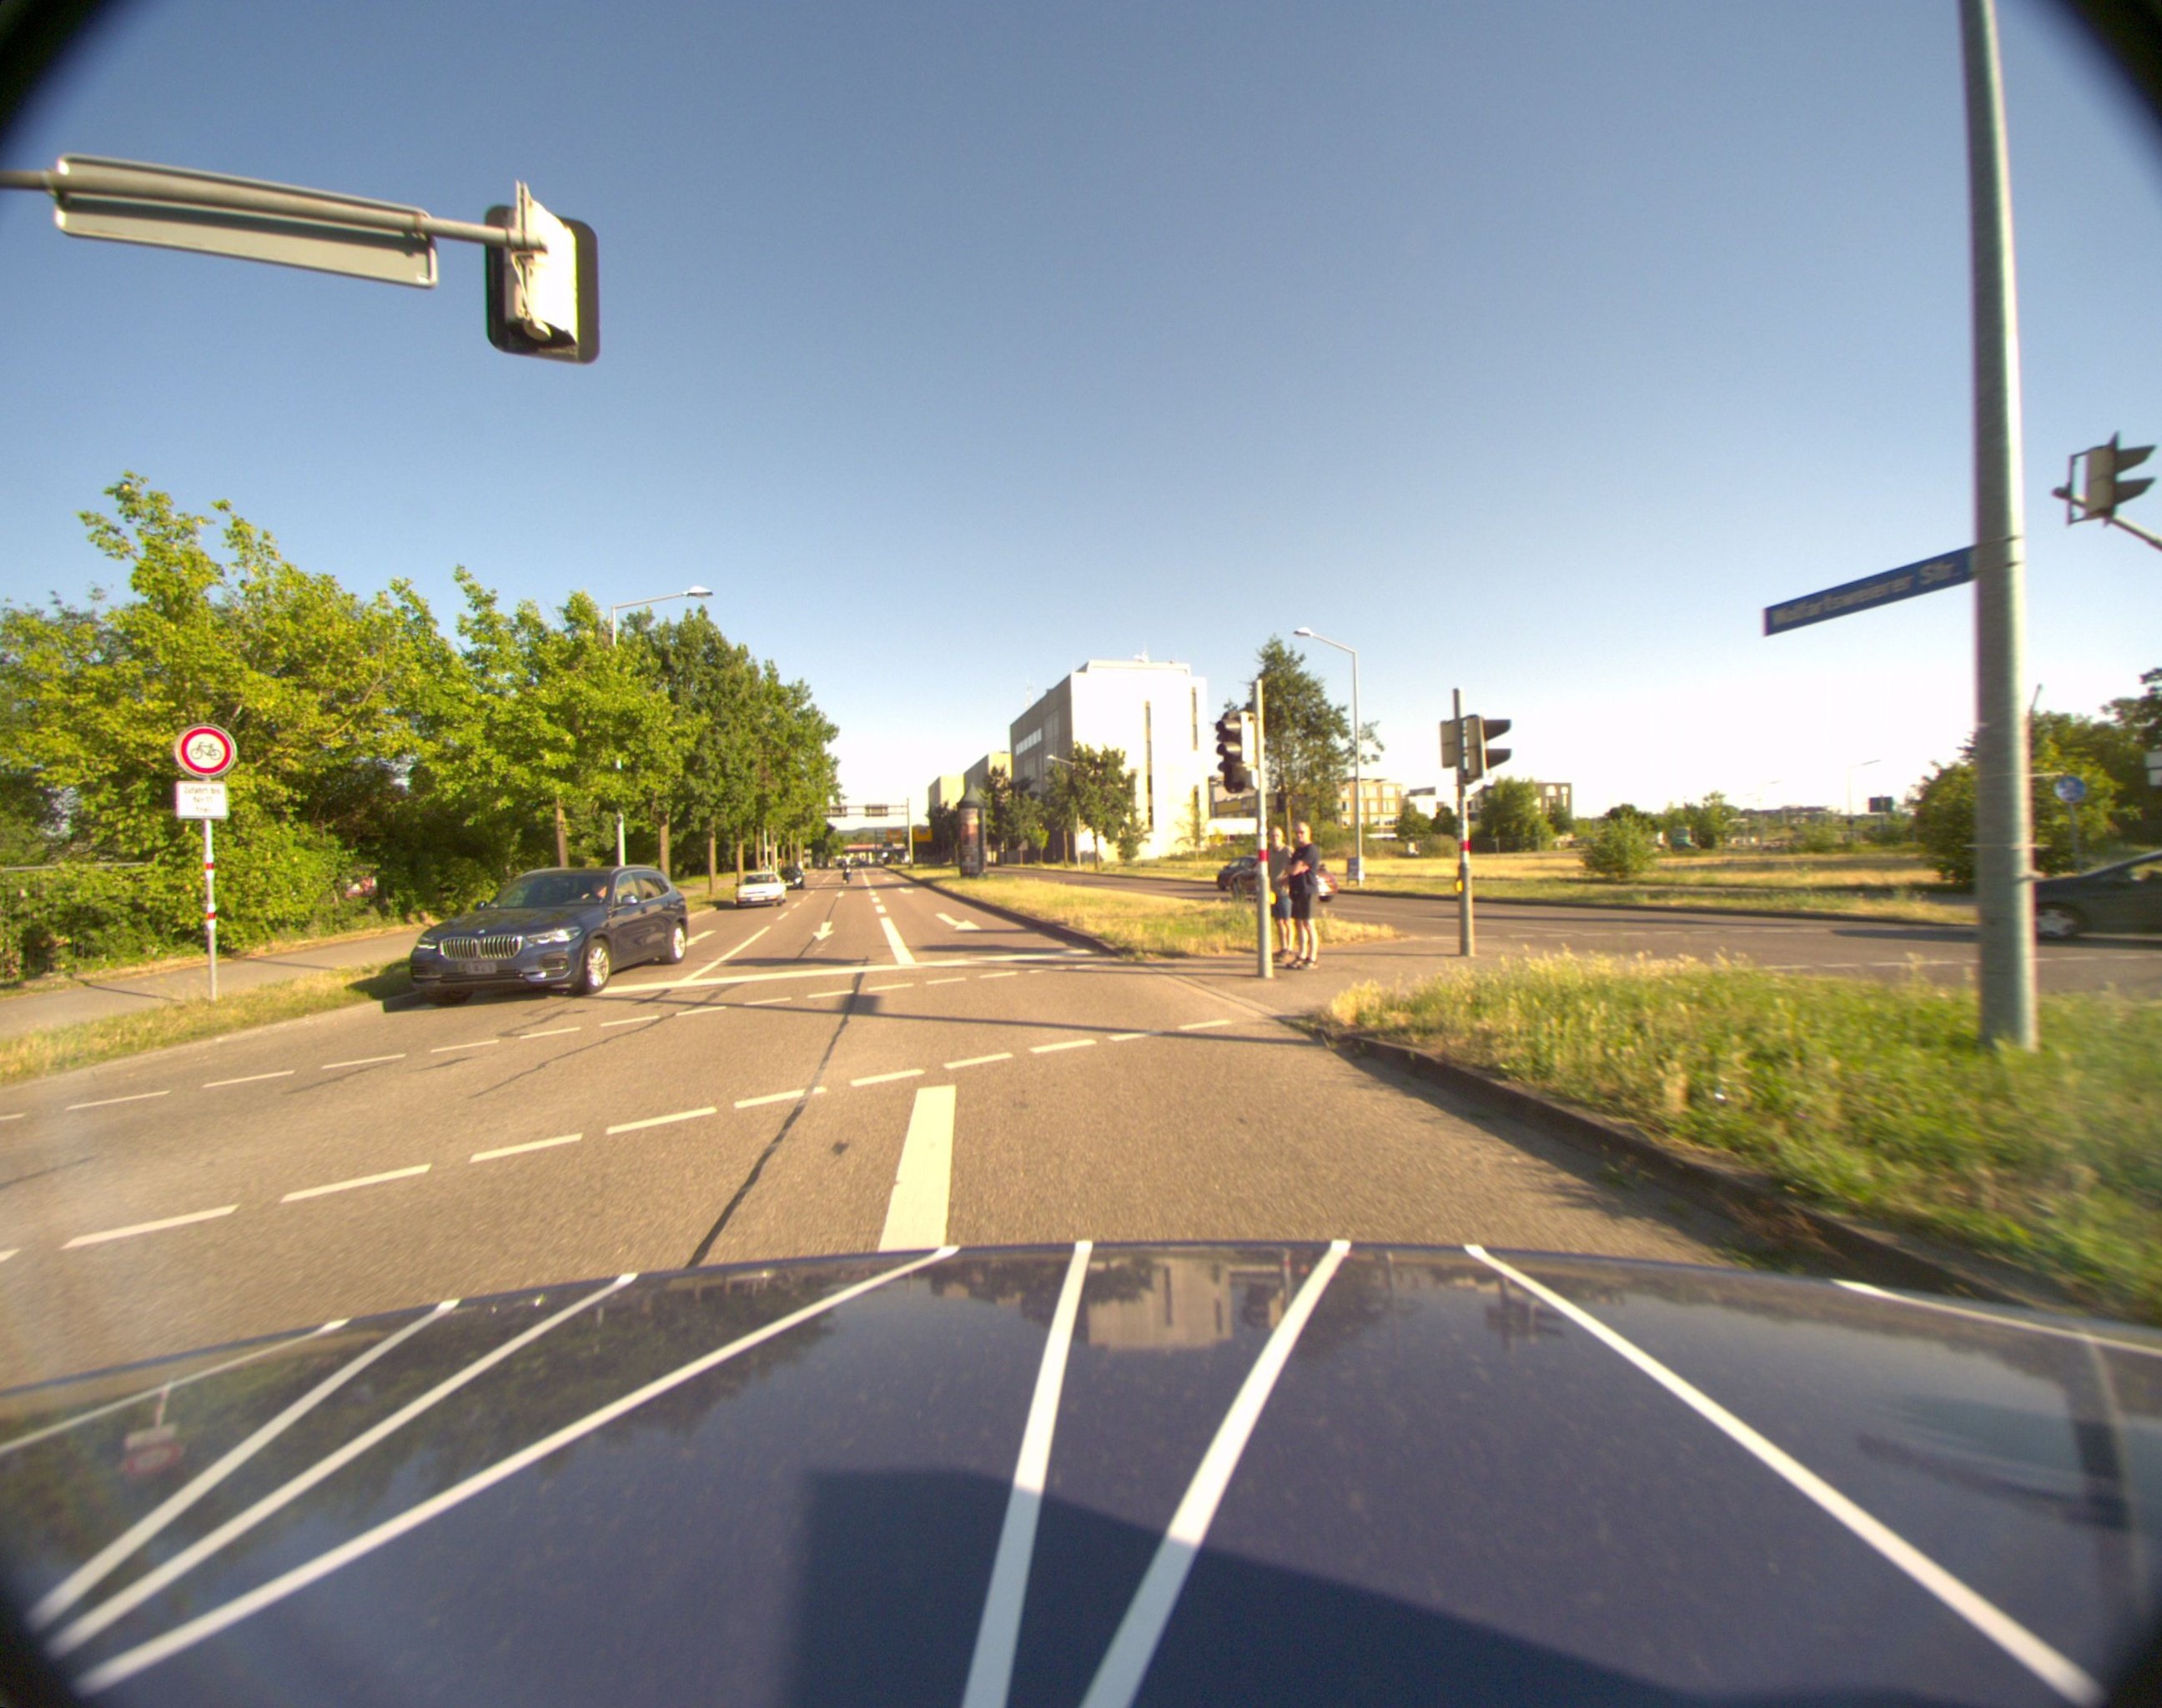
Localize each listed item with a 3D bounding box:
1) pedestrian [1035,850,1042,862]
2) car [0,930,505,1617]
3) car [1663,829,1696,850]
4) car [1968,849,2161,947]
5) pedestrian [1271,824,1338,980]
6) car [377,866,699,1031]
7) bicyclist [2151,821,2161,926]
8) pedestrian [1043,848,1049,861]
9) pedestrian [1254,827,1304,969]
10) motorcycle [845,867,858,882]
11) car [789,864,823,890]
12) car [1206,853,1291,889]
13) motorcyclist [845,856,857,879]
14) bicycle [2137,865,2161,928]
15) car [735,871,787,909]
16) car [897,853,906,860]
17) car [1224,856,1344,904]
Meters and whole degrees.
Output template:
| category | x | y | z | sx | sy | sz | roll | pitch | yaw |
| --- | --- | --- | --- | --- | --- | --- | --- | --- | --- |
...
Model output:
| category | x | y | z | sx | sy | sz | roll | pitch | yaw |
| --- | --- | --- | --- | --- | --- | --- | --- | --- | --- |
| pedestrian | -5.834 | 0.271 | 104.671 | 0.779 | 1.592 | 0.908 | -2 | 1 | -15 |
| car | -4.007 | 1.308 | 2.785 | 1.608 | 1.601 | 3.994 | -2 | 0 | -16 |
| car | 57.484 | -1.400 | 72.980 | 3.888 | 2.002 | 1.994 | -2 | 1 | -45 |
| car | 15.813 | 0.605 | 10.834 | 1.675 | 1.368 | 3.941 | -1 | 0 | -34 |
| pedestrian | 2.737 | 0.566 | 9.334 | 0.487 | 1.833 | 0.671 | -2 | 1 | -13 |
| car | -7.655 | 1.162 | 11.453 | 1.961 | 1.717 | 4.694 | -3 | 1 | -9 |
| bicyclist | 18.533 | 0.308 | 12.619 | 0.815 | 1.760 | 0.496 | -3 | 1 | -1 |
| pedestrian | -4.842 | 0.085 | 104.130 | 0.635 | 1.830 | 0.715 | -2 | 1 | -15 |
| pedestrian | 2.646 | 0.567 | 10.215 | 0.487 | 1.833 | 0.720 | -2 | 1 | 5 |
| motorcycle | -15.731 | 1.385 | 52.044 | 0.750 | 0.977 | 2.137 | -2 | 1 | -17 |
| car | -17.324 | 1.412 | 48.010 | 1.728 | 1.490 | 4.208 | -4 | 1 | -17 |
| car | 7.031 | 0.705 | 32.226 | 1.675 | 1.433 | 3.608 | -1 | 0 | -26 |
| motorcyclist | -15.749 | 0.911 | 52.078 | 0.735 | 1.503 | 0.917 | -2 | 1 | -18 |
| bicycle | 18.857 | 0.672 | 12.638 | 1.913 | 1.014 | 0.504 | -3 | 1 | -1 |
| car | -13.052 | 1.419 | 31.181 | 1.617 | 1.390 | 4.032 | -3 | 0 | -19 |
| car | -42.470 | 0.554 | 179.849 | 1.569 | 1.566 | 3.406 | -2 | 1 | -19 |
| car | 6.300 | 0.766 | 24.090 | 1.674 | 1.368 | 4.143 | -1 | 0 | -18 |
